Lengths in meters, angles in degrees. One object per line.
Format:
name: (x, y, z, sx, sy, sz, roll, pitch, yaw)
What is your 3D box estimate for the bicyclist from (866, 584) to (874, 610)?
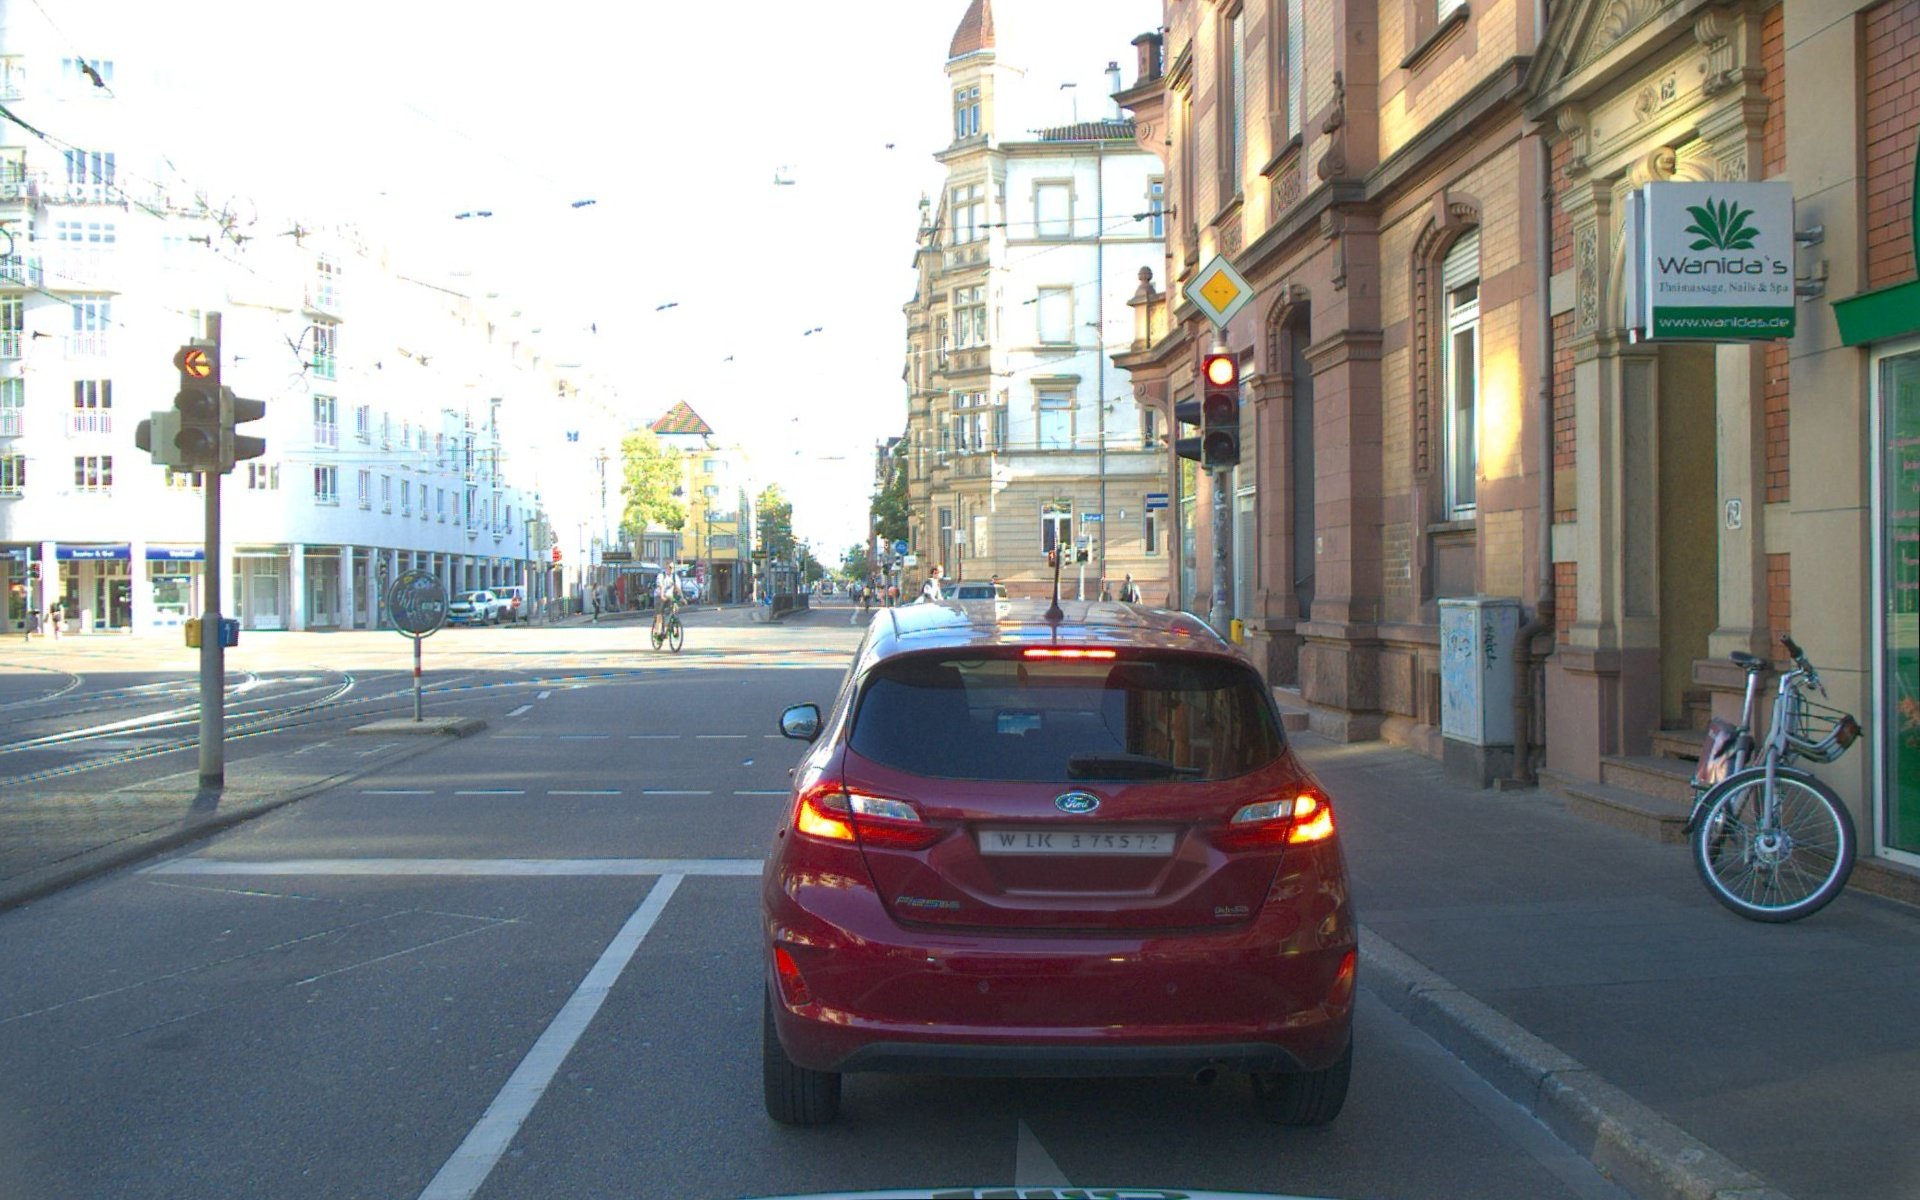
bicyclist: (-5.926, -0.205, 108.679, 0.489, 1.705, 0.545, -1, 0, -2)

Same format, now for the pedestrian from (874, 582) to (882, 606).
pedestrian: (-6.874, -0.494, 138.680, 0.565, 2.049, 0.631, -1, 0, 2)

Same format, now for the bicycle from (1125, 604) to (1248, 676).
bicycle: (3.858, 0.682, 28.172, 1.982, 1.198, 0.627, 1, 0, -11)

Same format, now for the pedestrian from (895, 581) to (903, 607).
pedestrian: (-4.976, -0.481, 134.463, 0.565, 2.049, 0.631, -1, 0, 2)

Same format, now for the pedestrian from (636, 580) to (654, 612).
pedestrian: (-19.919, -0.251, 104.502, 1.025, 2.049, 0.958, -1, 0, -6)

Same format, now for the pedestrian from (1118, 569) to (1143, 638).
pedestrian: (4.474, 0.091, 43.484, 0.549, 1.786, 0.650, -1, 0, -1)

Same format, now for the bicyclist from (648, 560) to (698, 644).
bicyclist: (-6.517, 0.038, 37.519, 0.800, 1.853, 0.982, -1, 0, -33)

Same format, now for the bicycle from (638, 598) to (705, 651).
bicycle: (-6.577, 0.549, 37.626, 0.800, 1.167, 1.988, -1, 0, -32)

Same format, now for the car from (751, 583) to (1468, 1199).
car: (0.199, 0.708, 5.915, 1.720, 1.492, 3.941, 1, 0, -5)

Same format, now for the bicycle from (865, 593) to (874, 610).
bicycle: (-5.925, 0.092, 108.747, 0.515, 1.108, 1.486, -1, 0, -1)

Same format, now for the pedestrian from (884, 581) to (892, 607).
pedestrian: (-5.806, -0.489, 134.196, 0.565, 2.049, 0.631, -1, 0, 2)

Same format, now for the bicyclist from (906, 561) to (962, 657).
bicyclist: (-0.476, 0.168, 30.672, 0.775, 1.756, 0.810, -1, 0, 21)

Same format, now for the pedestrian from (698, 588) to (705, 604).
pedestrian: (-25.144, -0.385, 160.911, 0.569, 1.514, 0.525, -1, 0, -5)

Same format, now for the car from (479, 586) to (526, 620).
car: (-24.025, 0.147, 87.008, 1.667, 1.748, 3.561, -1, 0, -4)

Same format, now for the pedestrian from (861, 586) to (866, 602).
pedestrian: (-11.931, -0.736, 203.865, 0.565, 1.920, 0.669, -1, 0, -3)

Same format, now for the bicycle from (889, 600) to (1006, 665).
bicycle: (-0.236, 0.600, 30.593, 2.001, 1.167, 0.810, -1, 0, 21)

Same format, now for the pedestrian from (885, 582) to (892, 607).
pedestrian: (-5.993, -0.485, 138.903, 0.565, 2.049, 0.631, -1, 0, 2)

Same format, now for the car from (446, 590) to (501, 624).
car: (-23.361, 0.324, 79.547, 1.730, 1.573, 3.459, -1, 0, -3)

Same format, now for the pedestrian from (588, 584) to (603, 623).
pedestrian: (-16.125, 0.171, 73.160, 0.513, 1.711, 0.486, -1, 0, 3)

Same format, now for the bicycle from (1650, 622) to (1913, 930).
bicycle: (3.632, 0.723, 7.456, 0.700, 1.172, 1.656, -2, 0, 15)

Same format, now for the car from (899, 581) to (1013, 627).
car: (-0.135, 0.144, 59.156, 3.813, 1.576, 1.455, -1, 0, 16)

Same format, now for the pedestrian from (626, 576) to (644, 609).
pedestrian: (-20.151, -0.466, 102.590, 1.025, 2.049, 0.958, -1, 0, -6)

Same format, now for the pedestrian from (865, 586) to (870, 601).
pedestrian: (-11.246, -0.785, 200.461, 0.565, 1.920, 0.630, -1, 0, -3)

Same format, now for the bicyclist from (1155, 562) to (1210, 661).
bicyclist: (3.781, 0.194, 28.158, 0.716, 1.655, 0.764, 1, 0, -11)

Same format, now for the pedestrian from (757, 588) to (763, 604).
pedestrian: (-19.319, -0.357, 159.664, 0.513, 1.514, 0.582, -1, 0, -2)

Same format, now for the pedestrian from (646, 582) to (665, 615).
pedestrian: (-18.875, -0.108, 102.554, 1.025, 2.049, 0.958, -1, 0, -6)

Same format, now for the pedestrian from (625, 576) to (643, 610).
pedestrian: (-19.776, -0.403, 100.330, 0.937, 2.049, 1.048, -1, 0, -4)

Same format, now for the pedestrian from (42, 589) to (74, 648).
pedestrian: (-31.711, 0.630, 58.149, 0.934, 2.049, 0.930, -1, 0, -31)

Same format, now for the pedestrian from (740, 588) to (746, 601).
pedestrian: (-25.736, -0.660, 196.327, 0.619, 1.632, 0.575, -1, 0, -20)

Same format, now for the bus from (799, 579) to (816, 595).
bus: (-19.986, -1.668, 216.900, 1.887, 2.049, 7.134, -1, 0, -2)
